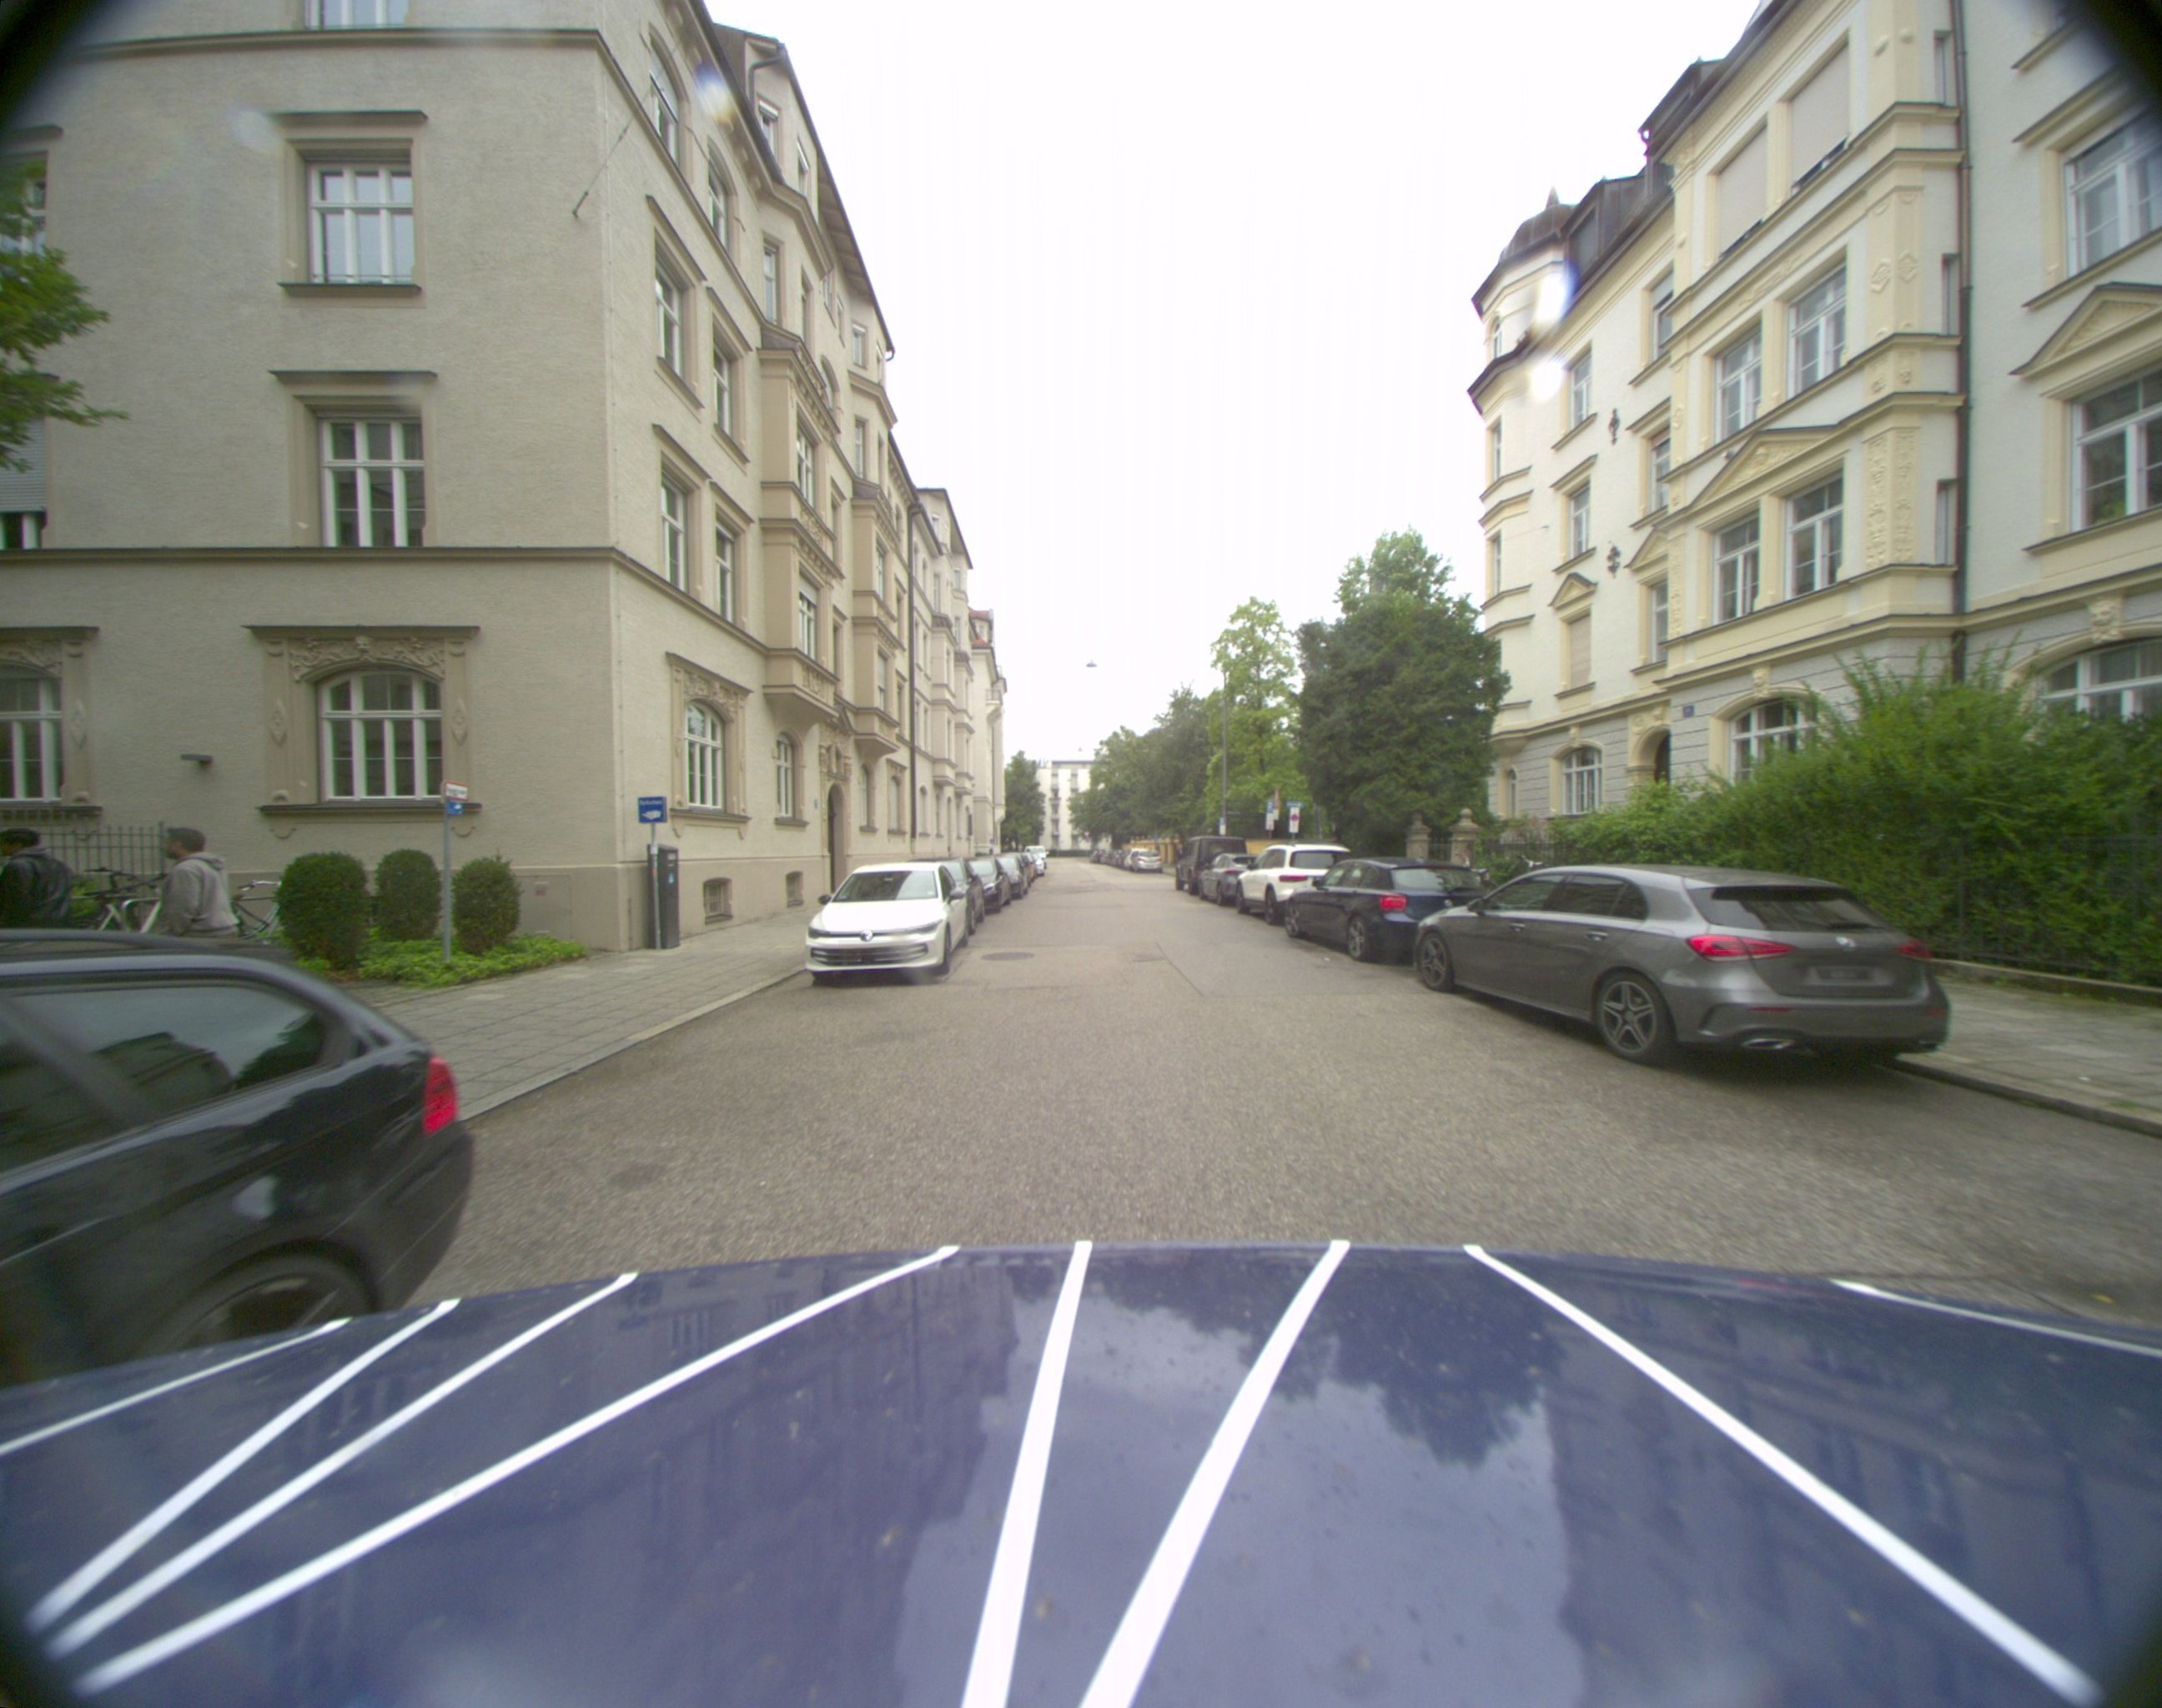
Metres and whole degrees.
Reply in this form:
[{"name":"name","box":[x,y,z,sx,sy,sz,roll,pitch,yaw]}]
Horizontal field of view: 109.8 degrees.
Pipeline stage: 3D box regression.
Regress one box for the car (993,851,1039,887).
[{"name":"car","box":[-2.848,0.613,33.965,1.747,1.507,3.957,0,0,0]}]

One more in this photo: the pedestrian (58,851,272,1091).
[{"name":"pedestrian","box":[-6.967,0.813,5.851,0.855,1.648,0.864,0,2,-38]}]

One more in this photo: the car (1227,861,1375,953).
[{"name":"car","box":[4.559,1.018,16.499,1.811,1.638,4.484,1,0,-1]}]

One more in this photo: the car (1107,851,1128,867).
[{"name":"car","box":[3.499,0.469,73.781,1.654,1.552,3.929,1,0,-2]}]

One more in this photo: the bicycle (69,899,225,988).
[{"name":"bicycle","box":[-11.125,1.041,9.099,0.453,0.903,1.130,1,1,1]}]

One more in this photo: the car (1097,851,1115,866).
[{"name":"car","box":[2.667,0.433,82.898,1.654,1.552,3.929,1,0,-2]}]

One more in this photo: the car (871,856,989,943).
[{"name":"car","box":[-2.973,0.823,15.756,1.797,1.489,4.081,-3,0,-4]}]

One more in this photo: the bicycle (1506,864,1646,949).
[{"name":"bicycle","box":[8.503,0.845,13.227,0.757,1.289,2.530,1,0,0]}]

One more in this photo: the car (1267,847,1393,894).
[{"name":"car","box":[10.267,0.645,31.498,4.521,1.847,2.053,0,1,-7]}]

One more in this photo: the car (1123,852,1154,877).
[{"name":"car","box":[4.092,0.736,54.610,1.705,1.552,3.929,-5,1,-2]}]

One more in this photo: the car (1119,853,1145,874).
[{"name":"car","box":[3.988,0.702,59.791,1.654,1.552,3.929,1,0,-2]}]

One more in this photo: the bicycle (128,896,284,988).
[{"name":"bicycle","box":[-9.987,0.975,8.721,0.453,0.903,1.130,1,1,1]}]

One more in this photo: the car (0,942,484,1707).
[{"name":"car","box":[-2.691,1.002,0.212,1.715,1.443,4.224,-1,0,-1]}]

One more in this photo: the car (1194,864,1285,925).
[{"name":"car","box":[4.432,1.092,21.824,1.647,1.422,3.918,3,1,-2]}]

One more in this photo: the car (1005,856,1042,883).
[{"name":"car","box":[-3.131,0.815,41.859,1.715,1.382,3.999,-1,0,0]}]

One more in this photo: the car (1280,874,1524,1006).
[{"name":"car","box":[4.472,1.108,11.329,1.773,1.412,3.998,0,1,-3]}]

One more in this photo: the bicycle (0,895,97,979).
[{"name":"bicycle","box":[-12.731,0.982,9.072,0.453,0.903,1.130,1,1,1]}]

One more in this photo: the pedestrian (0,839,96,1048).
[{"name":"pedestrian","box":[-9.251,0.753,6.668,0.631,1.758,0.670,-1,1,-45]}]

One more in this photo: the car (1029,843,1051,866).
[{"name":"car","box":[-3.487,0.036,64.975,1.794,1.926,4.084,-1,1,-3]}]

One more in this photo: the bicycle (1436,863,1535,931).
[{"name":"bicycle","box":[8.358,0.837,15.871,0.698,1.253,2.530,1,0,0]}]

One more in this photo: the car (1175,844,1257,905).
[{"name":"car","box":[4.575,0.624,26.472,1.917,1.876,4.815,1,1,-1]}]

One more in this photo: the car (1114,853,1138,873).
[{"name":"car","box":[3.840,0.737,64.864,1.654,1.552,3.929,1,0,-2]}]

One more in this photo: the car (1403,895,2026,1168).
[{"name":"car","box":[4.664,1.179,6.604,1.740,1.357,4.191,2,0,-3]}]

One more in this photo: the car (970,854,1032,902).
[{"name":"car","box":[-2.632,0.757,25.799,1.646,1.409,3.999,-1,1,0]}]

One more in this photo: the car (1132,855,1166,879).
[{"name":"car","box":[4.403,0.826,49.575,1.705,1.483,3.955,1,0,-2]}]

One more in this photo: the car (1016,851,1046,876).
[{"name":"car","box":[-3.040,0.560,46.817,1.715,1.462,4.084,-1,0,-3]}]

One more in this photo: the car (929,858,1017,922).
[{"name":"car","box":[-2.810,0.903,20.642,1.746,1.390,4.021,-2,1,0]}]

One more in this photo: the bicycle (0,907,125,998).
[{"name":"bicycle","box":[-11.995,1.111,8.769,0.453,0.903,1.130,1,1,1]}]

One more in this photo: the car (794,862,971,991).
[{"name":"car","box":[-2.659,0.883,11.095,1.667,1.499,4.063,-1,0,-3]}]

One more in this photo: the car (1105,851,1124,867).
[{"name":"car","box":[3.451,0.516,78.854,1.654,1.552,3.929,1,0,-2]}]
